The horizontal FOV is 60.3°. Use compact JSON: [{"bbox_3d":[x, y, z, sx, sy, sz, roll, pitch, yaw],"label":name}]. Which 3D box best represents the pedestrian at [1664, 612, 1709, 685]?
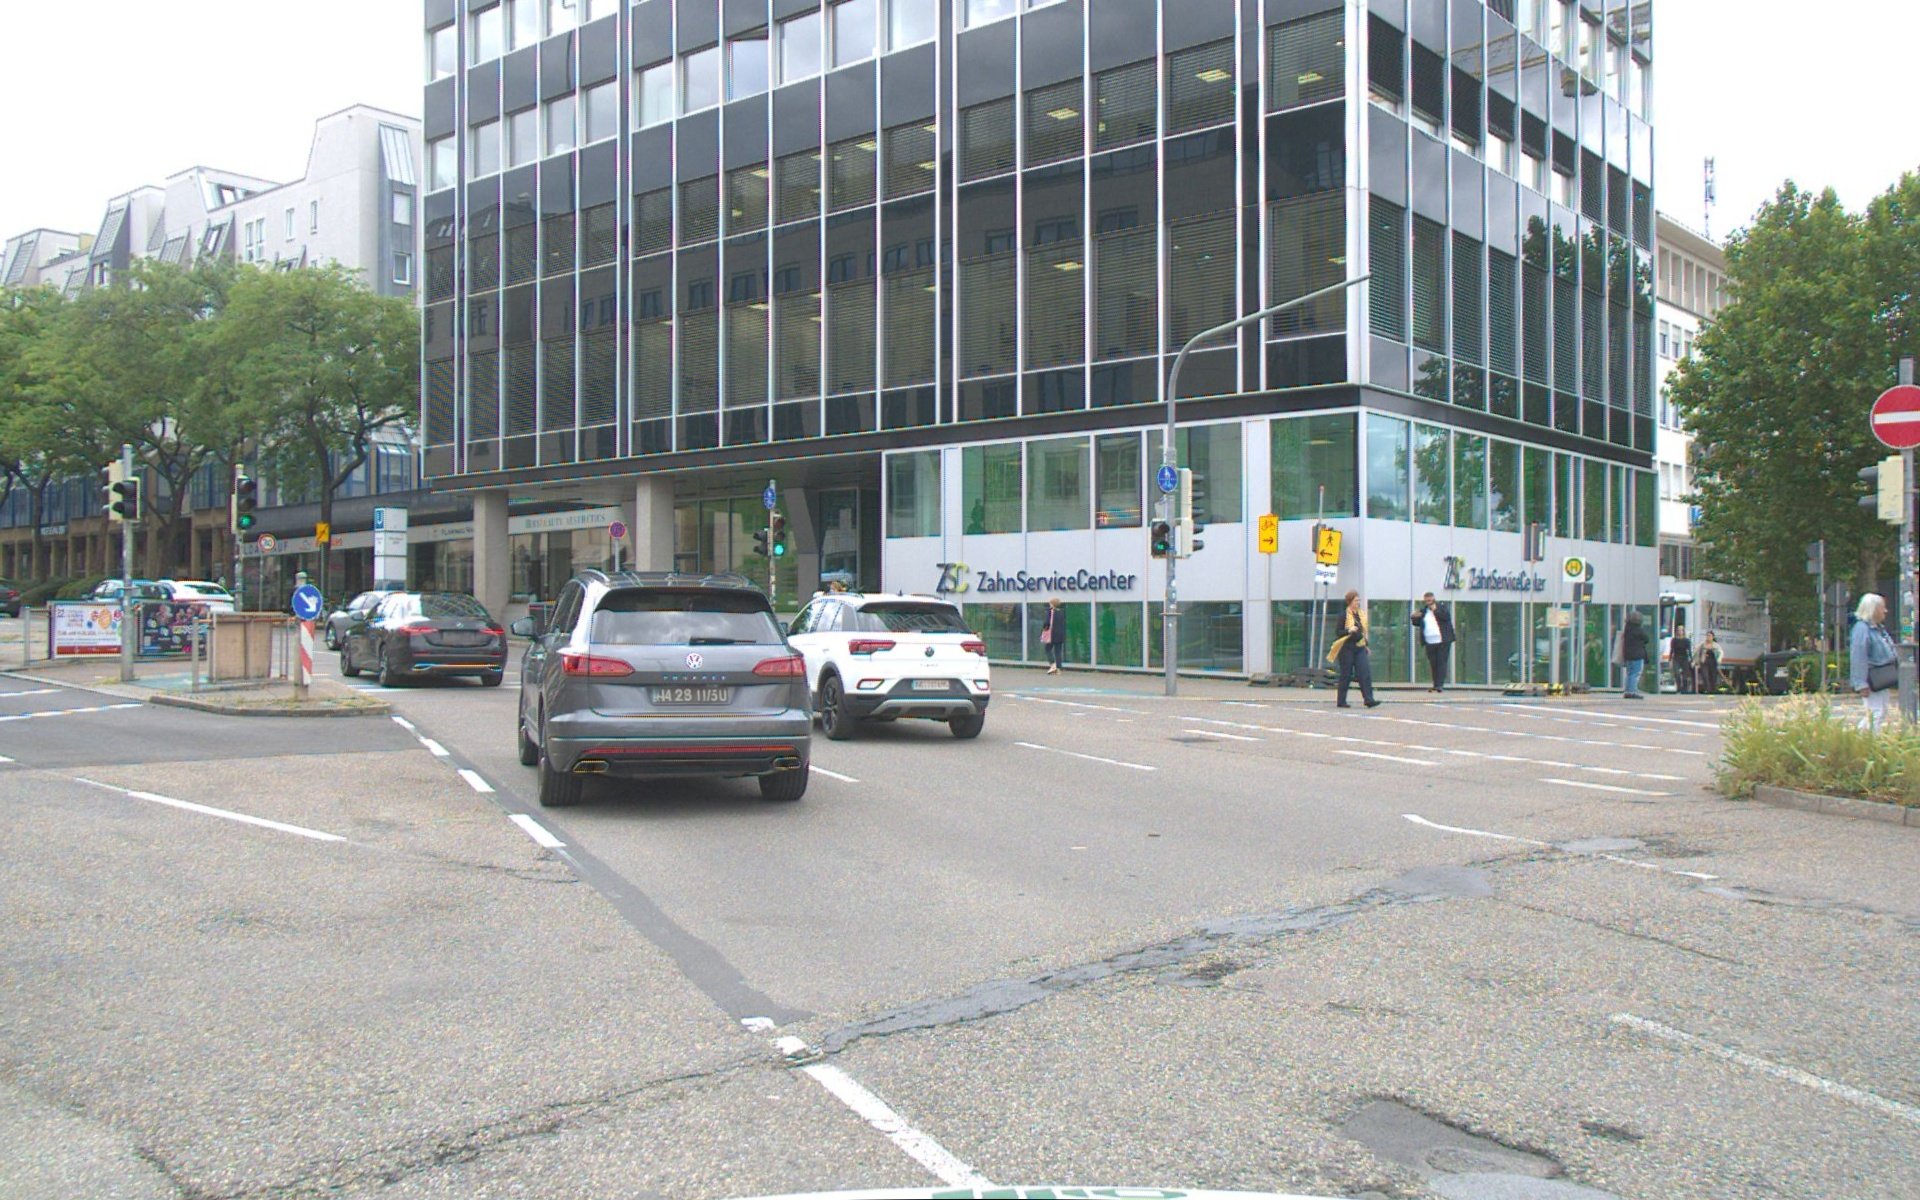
[{"bbox_3d":[18.130,1.206,41.275,0.857,1.777,0.844,1,0,37],"label":"pedestrian"}]

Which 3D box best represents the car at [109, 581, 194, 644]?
[{"bbox_3d":[-20.910,0.281,42.890,1.808,1.544,3.739,0,1,-24],"label":"car"}]

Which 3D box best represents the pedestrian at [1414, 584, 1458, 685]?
[{"bbox_3d":[8.536,0.614,29.667,0.623,1.778,0.590,1,0,29],"label":"pedestrian"}]

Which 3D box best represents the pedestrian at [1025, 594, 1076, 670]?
[{"bbox_3d":[1.786,0.626,32.782,0.824,1.468,0.602,0,1,41],"label":"pedestrian"}]

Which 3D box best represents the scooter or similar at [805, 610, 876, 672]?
[{"bbox_3d":[-2.316,0.795,32.192,1.291,1.196,0.593,0,0,4],"label":"scooter or similar"}]

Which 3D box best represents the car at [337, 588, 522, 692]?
[{"bbox_3d":[-8.536,0.595,26.403,1.816,1.420,4.102,2,1,-32],"label":"car"}]

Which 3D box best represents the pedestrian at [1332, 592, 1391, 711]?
[{"bbox_3d":[5.958,0.754,24.569,0.537,1.727,0.799,0,0,-14],"label":"pedestrian"}]

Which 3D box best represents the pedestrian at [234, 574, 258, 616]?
[{"bbox_3d":[-30.528,-0.227,70.715,0.923,1.784,0.594,1,1,40],"label":"pedestrian"}]

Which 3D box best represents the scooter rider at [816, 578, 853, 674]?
[{"bbox_3d":[-2.442,0.499,32.197,0.628,1.840,0.593,0,0,4],"label":"scooter rider"}]

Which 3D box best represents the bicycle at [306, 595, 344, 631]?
[{"bbox_3d":[-21.060,0.419,54.815,0.487,1.152,1.813,1,0,-45],"label":"bicycle"}]

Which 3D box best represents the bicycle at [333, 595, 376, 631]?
[{"bbox_3d":[-20.318,0.432,55.444,1.852,1.152,0.488,1,0,40],"label":"bicycle"}]

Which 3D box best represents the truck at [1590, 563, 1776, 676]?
[{"bbox_3d":[21.673,0.601,49.292,2.307,3.117,8.140,0,-1,45],"label":"truck"}]

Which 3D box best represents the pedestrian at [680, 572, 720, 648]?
[{"bbox_3d":[-6.008,0.235,38.226,0.739,1.741,0.524,-2,0,40],"label":"pedestrian"}]

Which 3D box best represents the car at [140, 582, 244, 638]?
[{"bbox_3d":[-22.240,0.263,47.840,1.822,1.544,3.711,0,1,-41],"label":"car"}]

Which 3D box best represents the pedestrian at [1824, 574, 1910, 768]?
[{"bbox_3d":[9.134,0.693,16.675,0.686,1.895,0.669,1,0,24],"label":"pedestrian"}]

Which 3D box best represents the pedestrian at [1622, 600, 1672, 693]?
[{"bbox_3d":[12.819,0.853,30.886,0.582,1.708,0.631,1,0,-29],"label":"pedestrian"}]

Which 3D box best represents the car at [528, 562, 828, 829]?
[{"bbox_3d":[-2.370,0.572,12.986,1.938,1.725,4.207,0,1,-15],"label":"car"}]

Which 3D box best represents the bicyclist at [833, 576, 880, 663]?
[{"bbox_3d":[-2.272,0.420,36.416,0.799,1.878,0.671,0,0,42],"label":"bicyclist"}]

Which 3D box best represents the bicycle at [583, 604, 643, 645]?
[{"bbox_3d":[-9.470,0.661,45.081,1.452,1.066,0.713,1,0,25],"label":"bicycle"}]

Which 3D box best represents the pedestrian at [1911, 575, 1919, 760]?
[{"bbox_3d":[10.025,0.685,16.665,0.686,1.847,0.669,1,0,24],"label":"pedestrian"}]

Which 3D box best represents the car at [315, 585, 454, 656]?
[{"bbox_3d":[-13.510,0.452,38.700,1.820,1.457,4.091,2,1,-38],"label":"car"}]

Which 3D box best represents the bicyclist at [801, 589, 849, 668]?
[{"bbox_3d":[-2.730,0.569,33.500,0.826,1.576,0.566,0,0,17],"label":"bicyclist"}]

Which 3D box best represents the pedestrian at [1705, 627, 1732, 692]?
[{"bbox_3d":[18.767,1.465,40.912,0.508,1.561,0.551,1,0,37],"label":"pedestrian"}]

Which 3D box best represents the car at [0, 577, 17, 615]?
[{"bbox_3d":[-36.558,-0.178,61.716,1.821,1.387,3.713,0,1,-40],"label":"car"}]

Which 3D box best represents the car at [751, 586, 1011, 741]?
[{"bbox_3d":[-1.023,0.688,19.082,1.773,1.572,3.907,0,-1,-23],"label":"car"}]
